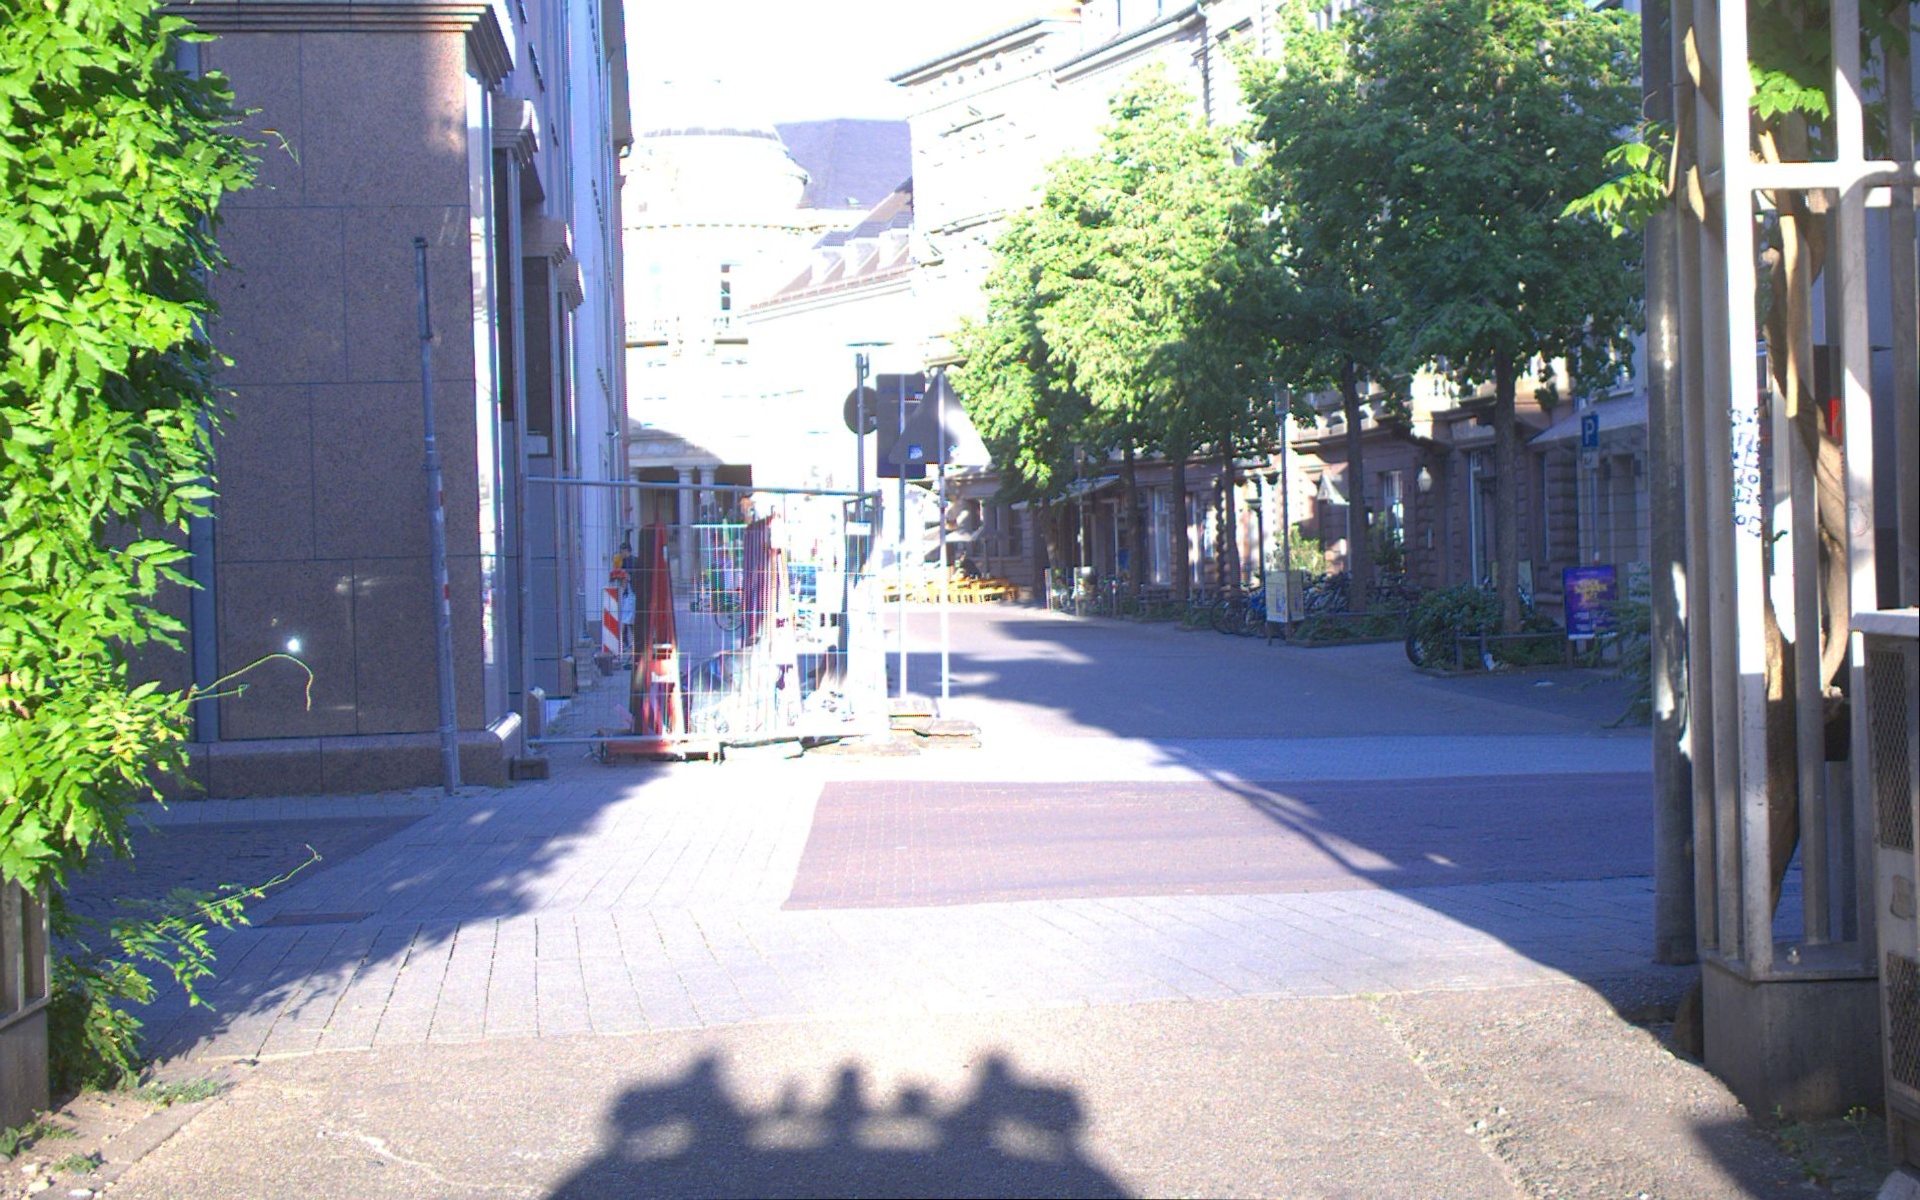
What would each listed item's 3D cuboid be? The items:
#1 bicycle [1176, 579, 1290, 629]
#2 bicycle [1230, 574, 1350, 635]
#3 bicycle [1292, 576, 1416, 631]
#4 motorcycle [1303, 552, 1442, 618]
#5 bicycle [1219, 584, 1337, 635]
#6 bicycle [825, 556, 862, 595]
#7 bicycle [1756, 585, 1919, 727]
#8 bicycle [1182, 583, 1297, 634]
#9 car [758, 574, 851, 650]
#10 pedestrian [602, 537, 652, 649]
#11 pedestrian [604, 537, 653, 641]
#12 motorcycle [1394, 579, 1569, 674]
[{"bbox_3d":[5.436,0.071,68.427,2.152,0.922,0.591,-2,0,-9],"label":"bicycle"},{"bbox_3d":[6.150,0.088,64.068,2.154,1.057,0.590,-2,0,12],"label":"bicycle"},{"bbox_3d":[7.126,0.055,62.186,2.152,0.922,0.591,-2,0,-17],"label":"bicycle"},{"bbox_3d":[7.336,-0.264,61.064,2.470,1.091,0.591,-2,0,-24],"label":"motorcycle"},{"bbox_3d":[6.130,0.183,66.340,2.152,0.922,0.591,-2,0,-9],"label":"bicycle"},{"bbox_3d":[-3.419,-0.702,100.424,0.588,1.091,2.160,-2,0,-15],"label":"bicycle"},{"bbox_3d":[7.458,0.445,28.311,1.657,1.047,0.662,-4,1,16],"label":"bicycle"},{"bbox_3d":[5.487,0.164,67.468,2.152,0.922,0.591,-2,0,-9],"label":"bicycle"},{"bbox_3d":[-3.645,0.257,80.202,1.841,1.678,3.645,-2,0,-7],"label":"car"},{"bbox_3d":[-5.303,-0.112,54.795,0.654,1.758,0.634,-2,0,3],"label":"pedestrian"},{"bbox_3d":[-5.350,-0.183,55.451,0.654,1.646,0.634,-2,0,3],"label":"pedestrian"},{"bbox_3d":[6.747,0.339,44.505,2.152,1.147,0.494,-2,0,-5],"label":"motorcycle"}]
